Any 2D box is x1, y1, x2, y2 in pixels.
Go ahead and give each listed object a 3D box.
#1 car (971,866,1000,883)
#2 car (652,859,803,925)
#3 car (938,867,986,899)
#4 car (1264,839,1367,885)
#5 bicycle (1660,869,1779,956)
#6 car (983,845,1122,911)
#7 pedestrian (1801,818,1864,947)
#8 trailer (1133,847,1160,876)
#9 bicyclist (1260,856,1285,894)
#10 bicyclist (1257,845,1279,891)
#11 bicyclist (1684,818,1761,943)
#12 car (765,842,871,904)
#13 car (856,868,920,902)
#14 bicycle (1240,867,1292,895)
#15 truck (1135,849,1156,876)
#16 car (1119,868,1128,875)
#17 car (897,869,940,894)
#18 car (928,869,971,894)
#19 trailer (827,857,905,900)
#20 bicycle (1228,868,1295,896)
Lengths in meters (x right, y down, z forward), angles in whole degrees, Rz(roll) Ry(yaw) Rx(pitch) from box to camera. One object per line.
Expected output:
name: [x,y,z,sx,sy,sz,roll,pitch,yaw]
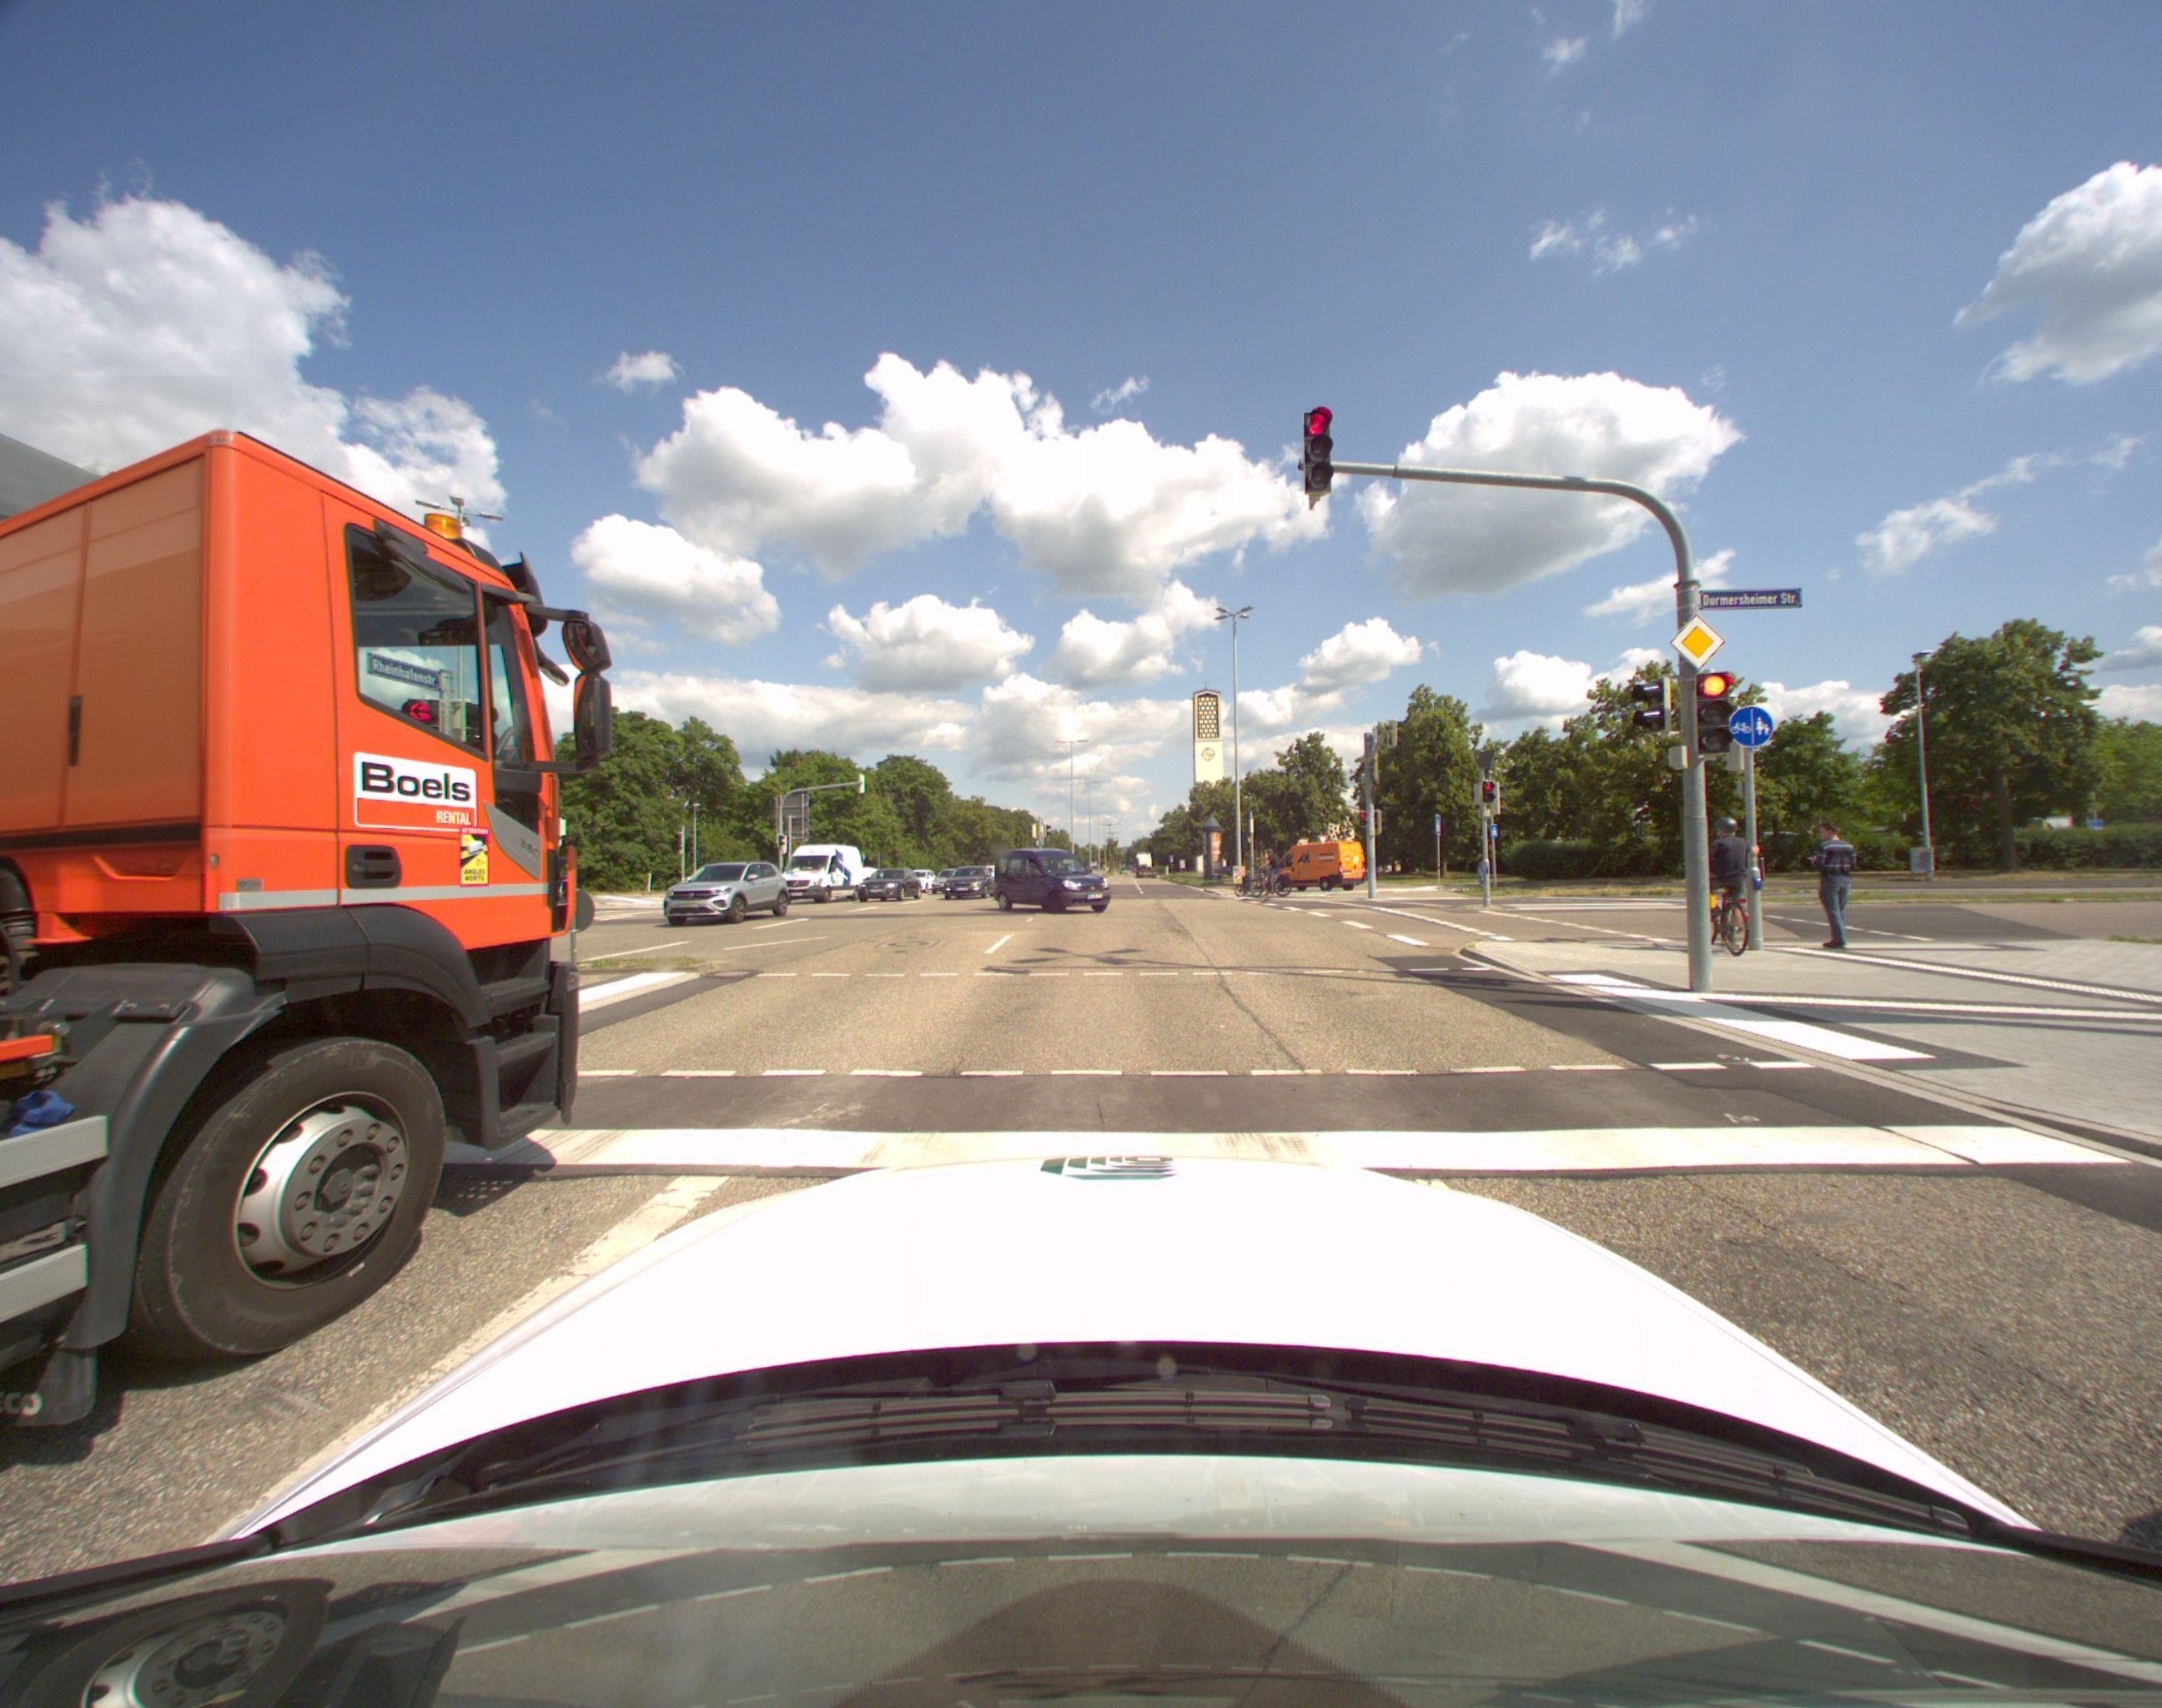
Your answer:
car: [-6.957,1.511,59.715,1.542,1.217,3.491,1,-1,2]
car: [-9.227,0.945,21.702,1.726,1.543,4.316,1,-1,6]
car: [-5.147,1.239,35.611,1.563,1.316,3.431,1,-1,0]
car: [12.065,0.442,42.139,2.221,2.226,4.807,2,-1,-35]
bicycle: [8.914,0.771,11.465,0.643,1.108,1.936,1,-1,16]
car: [-0.892,0.640,22.880,1.748,1.660,4.182,2,-1,-38]
pedestrian: [10.611,0.393,11.509,0.461,1.779,0.483,1,-1,11]
trailer: [9.663,1.229,118.440,3.602,4.012,11.336,-1,-2,6]
bicyclist: [8.192,0.884,34.782,0.701,1.616,0.791,0,-1,-22]
bicyclist: [7.569,0.568,33.021,0.782,1.804,0.687,-1,-1,7]
bicyclist: [8.868,0.356,11.285,0.643,1.661,0.653,1,-1,16]
car: [-11.417,0.841,35.955,2.163,2.471,5.976,1,-1,6]
car: [-8.119,1.269,34.575,1.757,1.352,3.520,-1,-1,2]
bicycle: [7.497,1.101,33.023,1.986,1.093,0.687,-1,-1,6]
truck: [10.038,1.413,126.185,2.944,3.971,8.651,-1,-2,6]
car: [9.975,4.125,192.391,1.986,1.552,4.001,1,-1,2]
car: [-10.449,1.738,52.559,1.851,1.513,4.001,1,-1,2]
car: [-7.647,1.572,47.609,1.719,1.398,4.001,1,-1,2]
trailer: [-10.831,1.230,41.466,2.114,2.014,5.169,1,-1,6]
bicycle: [7.677,1.179,34.572,2.844,1.112,0.791,0,-1,-22]
